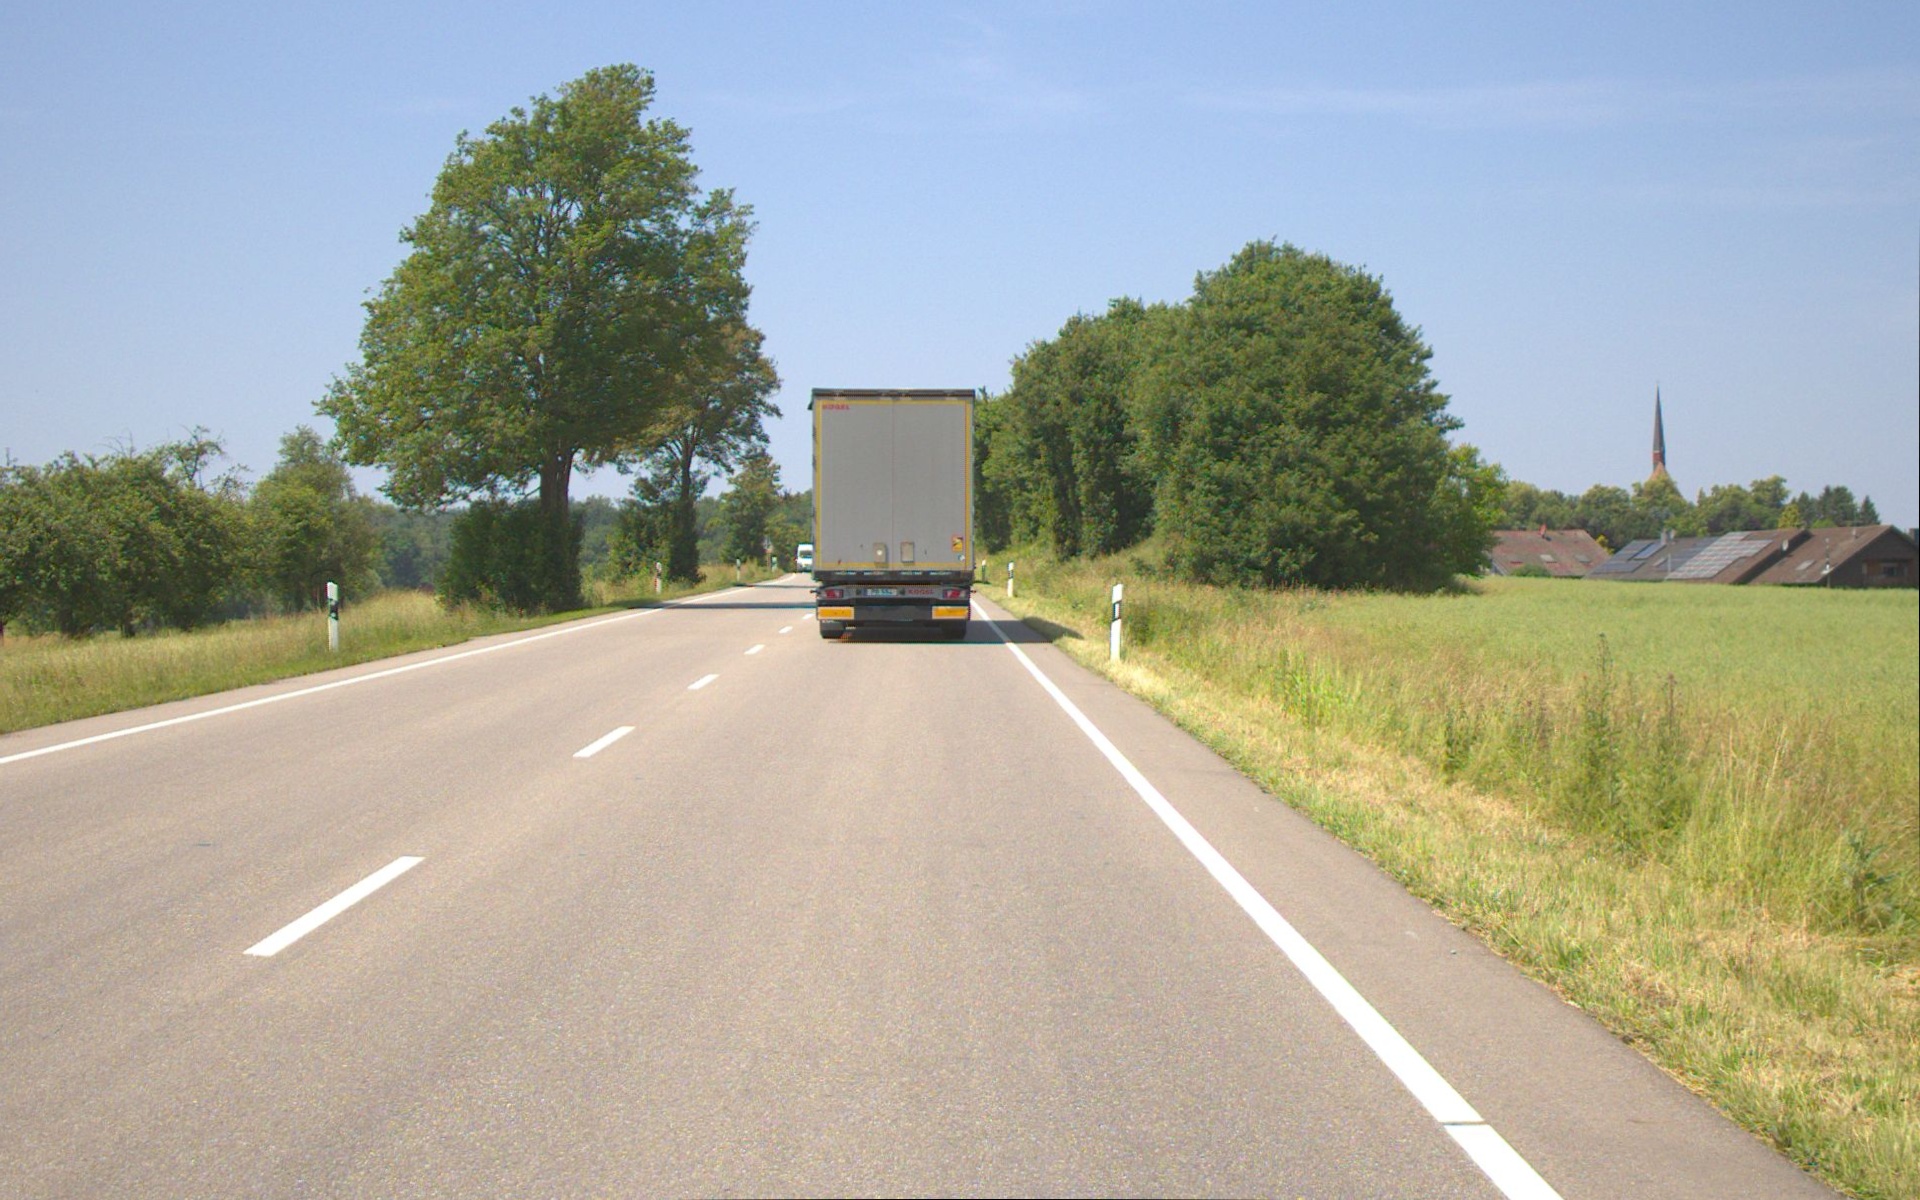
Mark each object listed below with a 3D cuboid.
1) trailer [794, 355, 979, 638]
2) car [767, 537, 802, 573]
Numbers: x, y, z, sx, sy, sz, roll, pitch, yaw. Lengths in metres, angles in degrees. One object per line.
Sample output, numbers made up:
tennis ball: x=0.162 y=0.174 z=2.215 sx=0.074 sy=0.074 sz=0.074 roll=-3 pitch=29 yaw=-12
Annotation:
trailer: x=-1.283 y=-1.720 z=60.032 sx=2.867 sy=4.385 sz=13.494 roll=0 pitch=1 yaw=-1
car: x=-10.062 y=-2.591 z=197.325 sx=1.873 sy=2.007 sz=4.075 roll=1 pitch=1 yaw=-2
